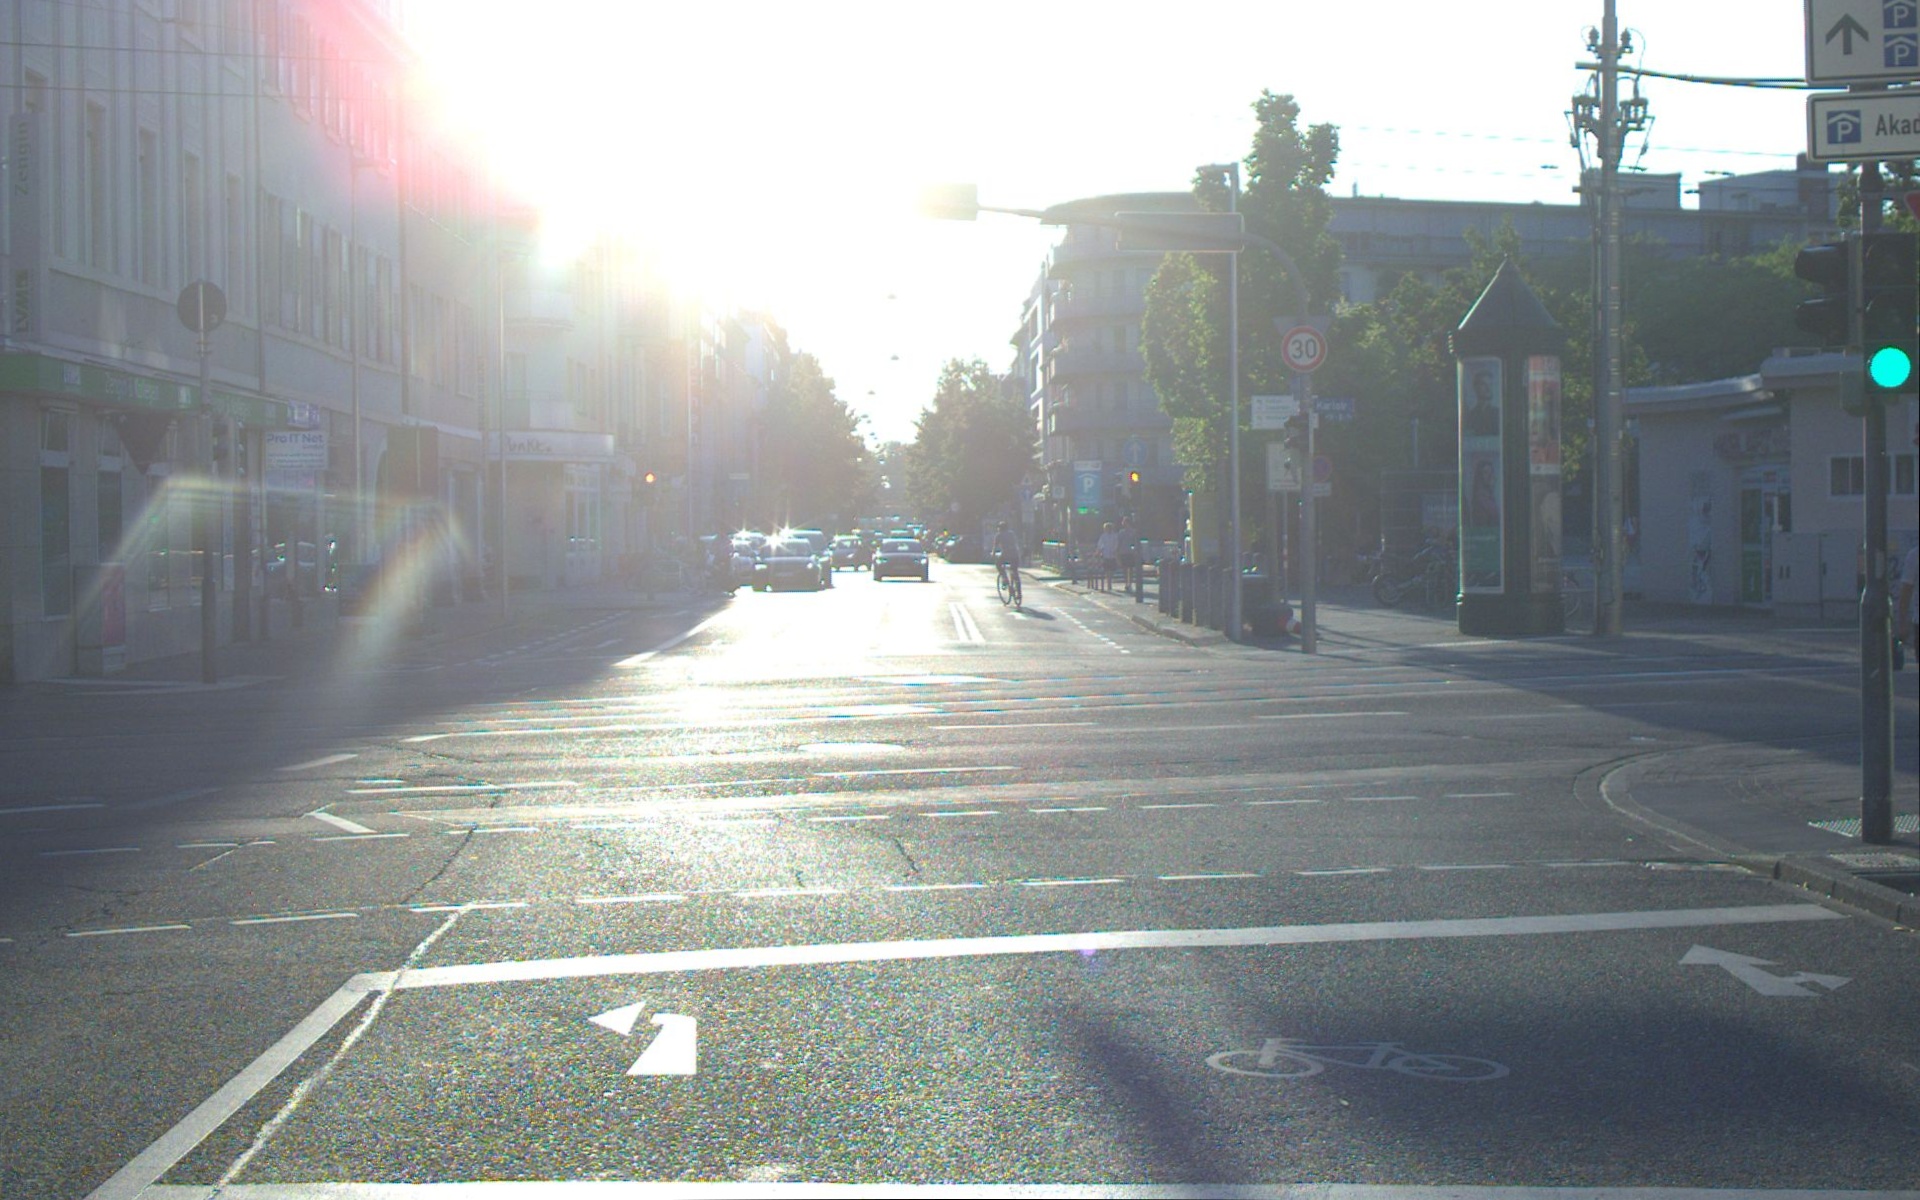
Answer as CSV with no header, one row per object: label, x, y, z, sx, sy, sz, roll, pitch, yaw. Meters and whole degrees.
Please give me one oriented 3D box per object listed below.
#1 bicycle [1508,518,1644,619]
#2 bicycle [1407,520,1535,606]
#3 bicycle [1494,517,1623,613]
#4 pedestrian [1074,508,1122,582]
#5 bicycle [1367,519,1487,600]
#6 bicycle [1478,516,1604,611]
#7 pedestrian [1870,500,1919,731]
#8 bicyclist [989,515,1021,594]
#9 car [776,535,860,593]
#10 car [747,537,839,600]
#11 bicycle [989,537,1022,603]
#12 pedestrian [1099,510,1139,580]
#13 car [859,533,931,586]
bicycle,9.509,-0.488,53.082,1.985,1.517,0.479,-1,1,0
bicycle,9.296,-0.675,62.595,2.222,1.517,0.681,-1,1,1
bicycle,9.653,-0.566,55.496,1.985,1.517,0.479,-1,1,1
pedestrian,3.672,-1.472,91.614,0.992,1.950,0.805,-1,1,26
bicycle,8.916,-0.779,65.737,2.223,1.517,0.681,-1,1,4
bicycle,9.552,-0.600,56.532,1.985,1.517,0.479,-1,1,1
pedestrian,7.449,0.104,26.083,0.805,1.720,0.992,-2,0,27
bicyclist,0.980,-0.996,75.209,0.678,1.701,0.669,-1,1,1
car,-4.243,-1.108,103.471,2.303,1.672,5.533,-1,1,-1
car,-4.621,-0.908,95.879,2.303,1.672,5.533,-1,1,-1
bicycle,0.995,-0.662,75.255,0.678,1.397,2.230,-1,1,1
pedestrian,4.150,-1.437,89.504,0.804,1.780,0.993,-2,0,14
car,-2.147,-1.379,115.039,2.303,1.672,5.533,-1,1,-1
